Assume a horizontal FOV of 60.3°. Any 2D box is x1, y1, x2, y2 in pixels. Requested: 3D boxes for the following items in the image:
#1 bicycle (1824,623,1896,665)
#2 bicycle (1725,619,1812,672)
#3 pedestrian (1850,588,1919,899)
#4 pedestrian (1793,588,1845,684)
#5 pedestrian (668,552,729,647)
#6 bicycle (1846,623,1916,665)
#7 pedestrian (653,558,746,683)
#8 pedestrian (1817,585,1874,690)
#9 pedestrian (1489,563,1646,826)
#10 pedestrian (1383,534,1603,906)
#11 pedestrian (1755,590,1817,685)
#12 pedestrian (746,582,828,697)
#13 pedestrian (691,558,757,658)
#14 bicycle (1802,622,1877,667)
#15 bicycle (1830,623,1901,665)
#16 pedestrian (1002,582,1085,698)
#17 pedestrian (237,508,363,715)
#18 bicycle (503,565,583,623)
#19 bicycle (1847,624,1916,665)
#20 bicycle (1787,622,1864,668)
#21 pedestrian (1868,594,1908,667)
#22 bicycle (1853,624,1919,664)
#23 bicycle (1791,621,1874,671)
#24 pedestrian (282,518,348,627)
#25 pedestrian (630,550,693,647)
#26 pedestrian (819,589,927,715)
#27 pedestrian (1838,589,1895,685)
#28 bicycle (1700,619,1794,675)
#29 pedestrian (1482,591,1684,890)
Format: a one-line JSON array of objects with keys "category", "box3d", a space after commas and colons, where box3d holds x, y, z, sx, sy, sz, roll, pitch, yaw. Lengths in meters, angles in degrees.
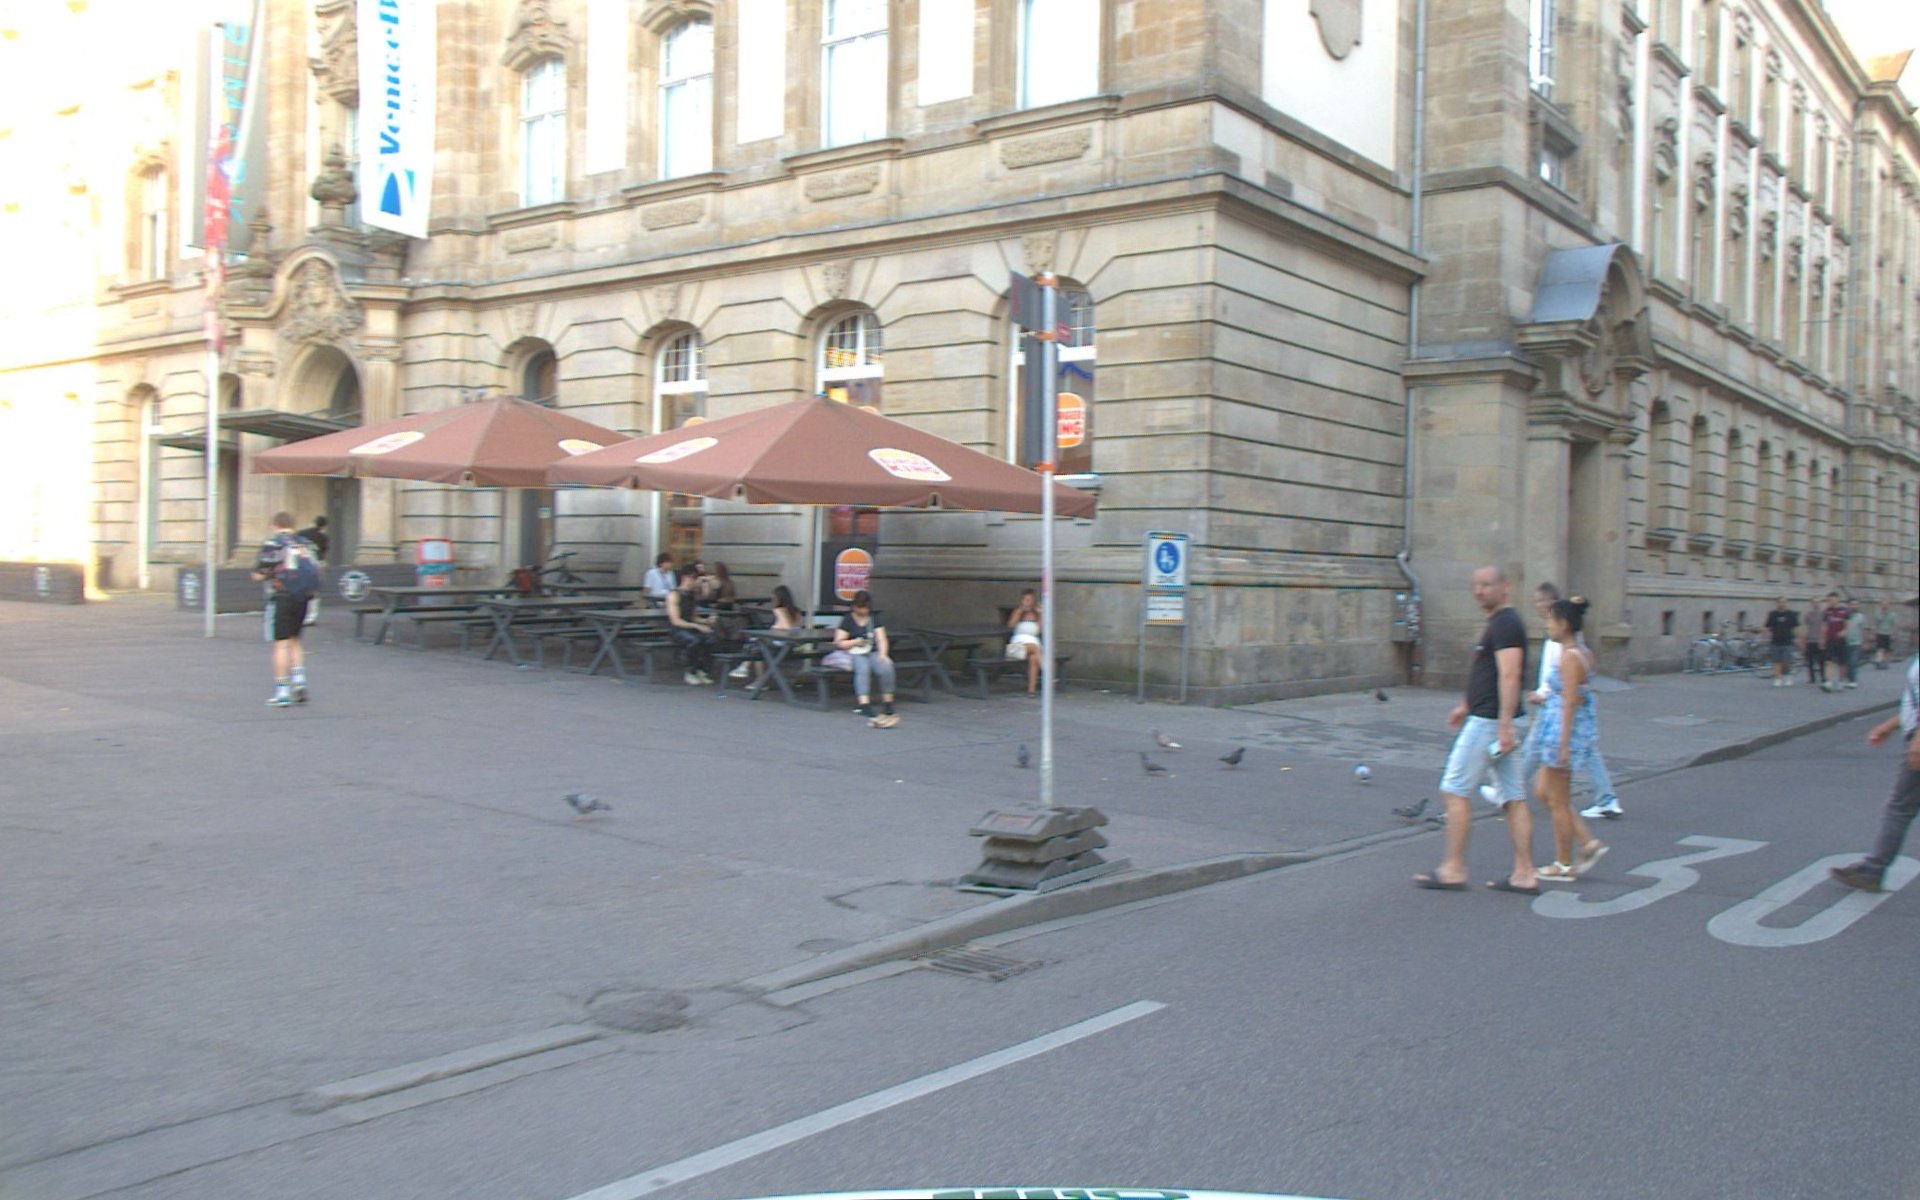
[{"category": "bicycle", "box3d": [24.922, 1.212, 45.800, 1.652, 1.059, 0.485, 4, 1, 37]}, {"category": "bicycle", "box3d": [17.923, 1.008, 36.692, 1.645, 1.059, 0.487, 3, 1, 21]}, {"category": "pedestrian", "box3d": [5.501, 0.782, 9.096, 0.726, 1.675, 0.859, 2, -1, -42]}, {"category": "pedestrian", "box3d": [16.741, 0.694, 32.226, 0.678, 1.782, 0.719, 5, 2, 35]}, {"category": "pedestrian", "box3d": [-3.817, -0.011, 24.138, 0.570, 1.331, 0.591, 4, 2, 36]}, {"category": "bicycle", "box3d": [26.190, 1.247, 47.066, 1.652, 1.059, 0.485, 4, 1, 37]}, {"category": "pedestrian", "box3d": [-3.070, 0.246, 19.472, 0.799, 1.407, 0.643, 2, 2, -42]}, {"category": "pedestrian", "box3d": [16.297, 0.677, 30.445, 0.686, 1.843, 0.971, 5, 2, 35]}, {"category": "pedestrian", "box3d": [4.639, 0.682, 12.619, 0.856, 1.871, 0.865, 4, 2, 32]}, {"category": "pedestrian", "box3d": [2.878, 0.607, 8.917, 0.857, 1.872, 0.802, 2, -1, 38]}, {"category": "pedestrian", "box3d": [15.495, 0.696, 31.025, 0.784, 1.703, 0.971, 5, 2, 35]}, {"category": "pedestrian", "box3d": [-1.978, 0.451, 18.885, 0.611, 1.247, 0.691, 2, 2, -38]}, {"category": "pedestrian", "box3d": [-3.288, 0.106, 23.056, 0.596, 1.331, 0.607, 4, 2, 33]}, {"category": "bicycle", "box3d": [22.932, 1.154, 43.135, 1.652, 1.059, 0.485, 4, 1, 37]}, {"category": "bicycle", "box3d": [25.242, 1.221, 46.125, 1.652, 1.059, 0.485, 4, 1, 37]}, {"category": "pedestrian", "box3d": [1.014, 0.476, 20.186, 0.655, 1.331, 0.767, 1, 4, -27]}, {"category": "pedestrian", "box3d": [-6.131, 0.088, 15.366, 0.792, 1.855, 0.806, 3, 1, 42]}, {"category": "bicycle", "box3d": [-6.780, -0.100, 26.930, 0.402, 0.909, 1.318, 2, 2, 33]}, {"category": "bicycle", "box3d": [26.436, 1.255, 47.460, 1.652, 1.059, 0.485, 4, 1, 37]}, {"category": "bicycle", "box3d": [22.078, 1.130, 42.200, 1.652, 1.059, 0.485, 4, 1, 37]}, {"category": "pedestrian", "box3d": [23.733, 0.769, 42.298, 0.707, 1.782, 0.666, 5, 2, 35]}, {"category": "bicycle", "box3d": [27.178, 1.277, 48.506, 1.652, 1.059, 0.485, 4, 1, 37]}, {"category": "bicycle", "box3d": [20.601, 1.082, 39.063, 1.652, 1.059, 0.485, 4, 1, 37]}, {"category": "pedestrian", "box3d": [-9.719, -0.425, 24.952, 0.834, 1.593, 0.846, 2, 2, -18]}, {"category": "pedestrian", "box3d": [-4.272, -0.024, 23.662, 0.570, 1.331, 0.592, 4, 2, 33]}, {"category": "pedestrian", "box3d": [-0.937, 0.555, 17.791, 0.773, 1.264, 0.817, 2, 2, -38]}, {"category": "pedestrian", "box3d": [17.612, 0.715, 32.144, 0.773, 1.782, 0.719, 5, 2, 35]}, {"category": "bicycle", "box3d": [16.348, 0.967, 34.373, 1.656, 1.059, 0.484, 4, 2, 44]}, {"category": "pedestrian", "box3d": [3.614, 0.775, 9.584, 0.857, 1.609, 0.802, 2, -1, 38]}]
